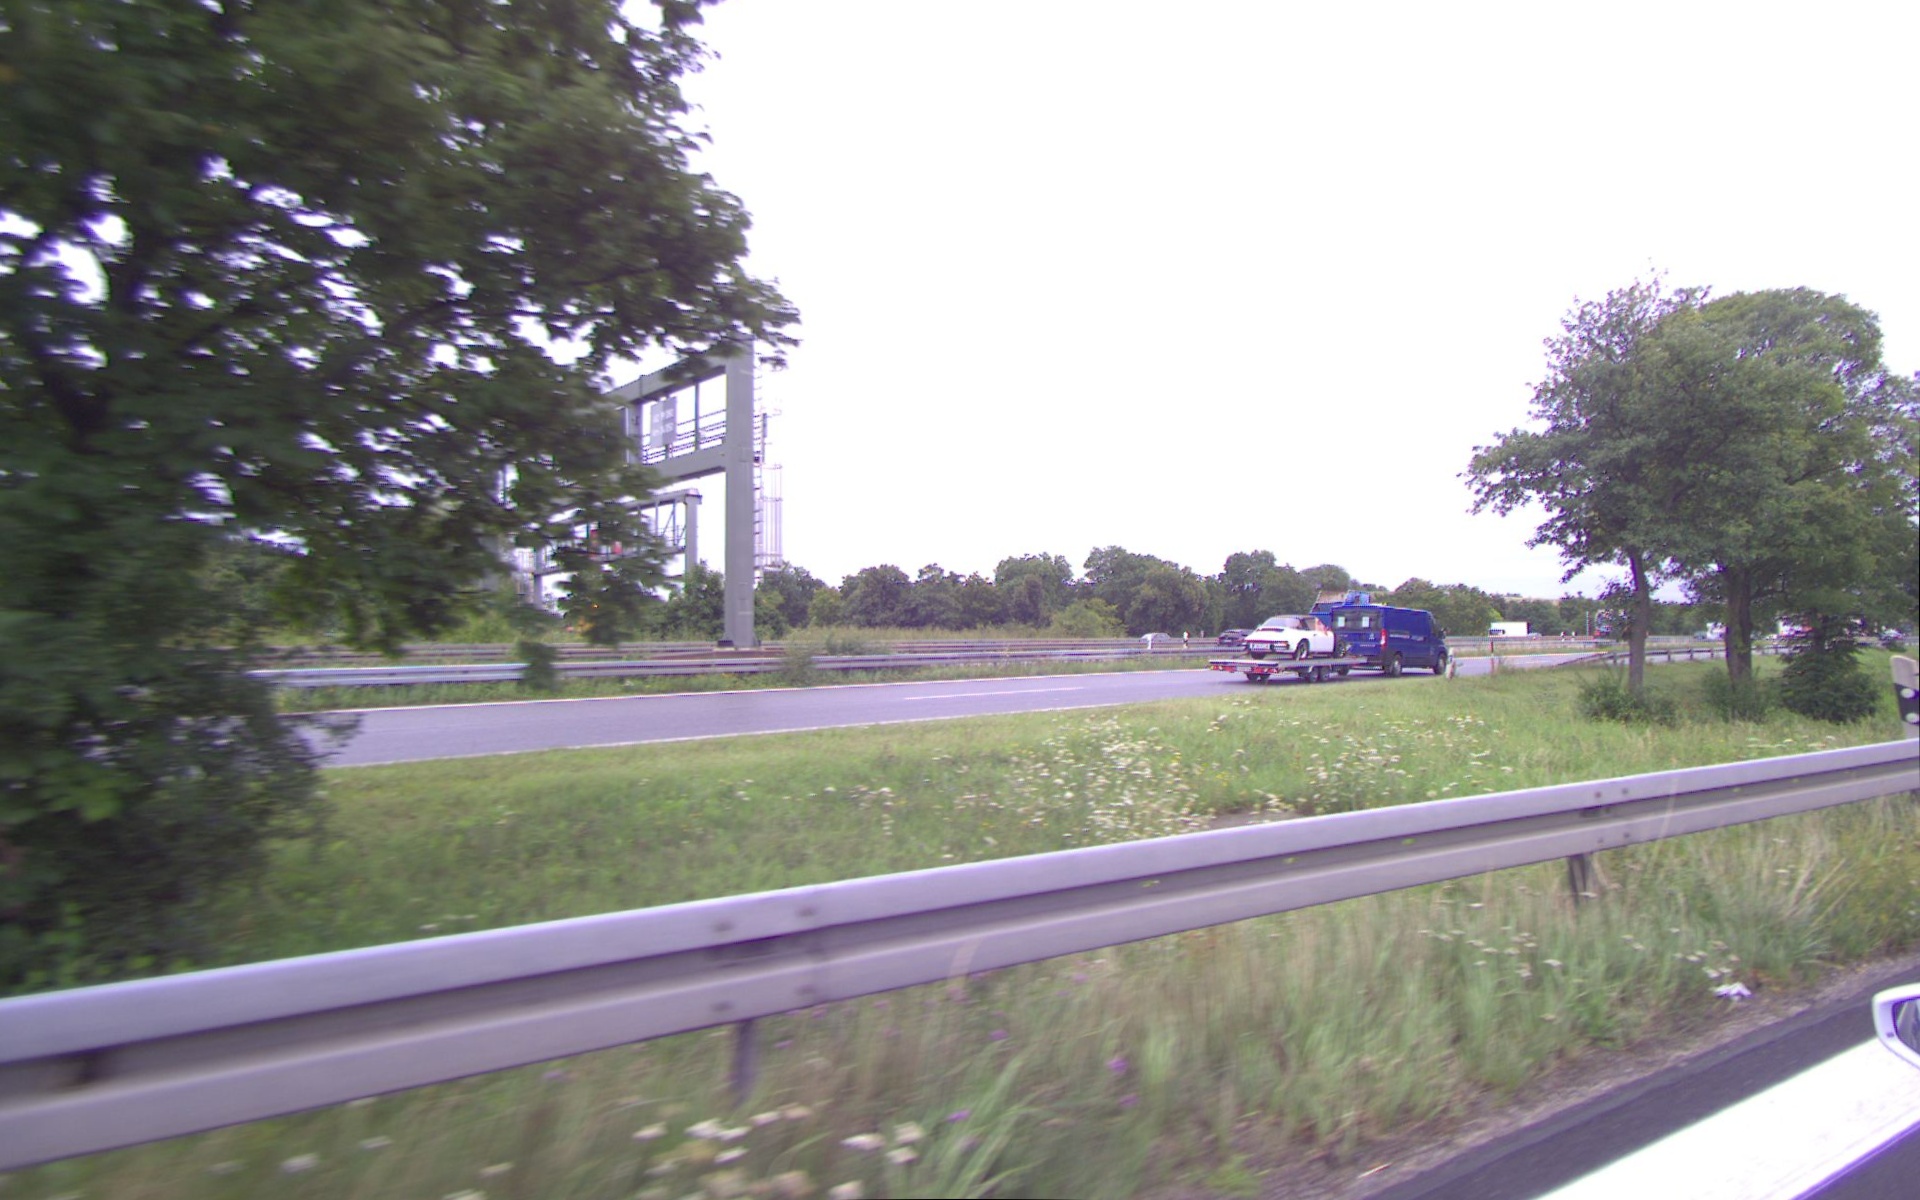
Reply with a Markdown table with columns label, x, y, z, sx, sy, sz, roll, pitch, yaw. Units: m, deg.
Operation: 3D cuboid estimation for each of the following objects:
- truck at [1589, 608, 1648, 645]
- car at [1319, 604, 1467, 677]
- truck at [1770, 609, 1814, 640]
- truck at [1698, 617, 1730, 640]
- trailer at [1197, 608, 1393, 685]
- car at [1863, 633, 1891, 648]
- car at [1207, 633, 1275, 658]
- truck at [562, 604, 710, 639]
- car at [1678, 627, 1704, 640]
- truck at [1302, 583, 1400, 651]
| label | x | y | z | sx | sy | sz | roll | pitch | yaw |
| --- | --- | --- | --- | --- | --- | --- | --- | --- | --- |
| truck | 63.554 | 2.533 | 96.865 | 8.568 | 3.409 | 2.830 | 1 | -1 | -43 |
| car | 14.879 | 1.325 | 34.333 | 6.212 | 2.296 | 2.350 | 2 | -1 | -43 |
| truck | 123.231 | 3.621 | 148.805 | 10.121 | 4.476 | 3.699 | 1 | -1 | -43 |
| truck | 91.548 | 3.439 | 121.945 | 5.241 | 2.740 | 2.222 | 1 | -1 | -43 |
| trailer | 10.088 | 1.303 | 29.827 | 7.012 | 2.021 | 2.461 | 2 | -1 | -43 |
| car | 104.821 | 4.633 | 114.807 | 5.584 | 1.659 | 1.943 | 2 | -1 | -43 |
| car | 17.028 | 2.739 | 60.761 | 4.742 | 1.410 | 1.786 | 2 | -1 | -43 |
| truck | -20.123 | 1.358 | 62.947 | 8.744 | 2.040 | 1.976 | 2 | -1 | -41 |
| car | 94.046 | 4.365 | 129.210 | 3.970 | 1.595 | 1.868 | 2 | -1 | -42 |
| truck | 23.668 | 1.074 | 60.540 | 7.292 | 3.863 | 2.613 | 2 | -1 | -43 |
